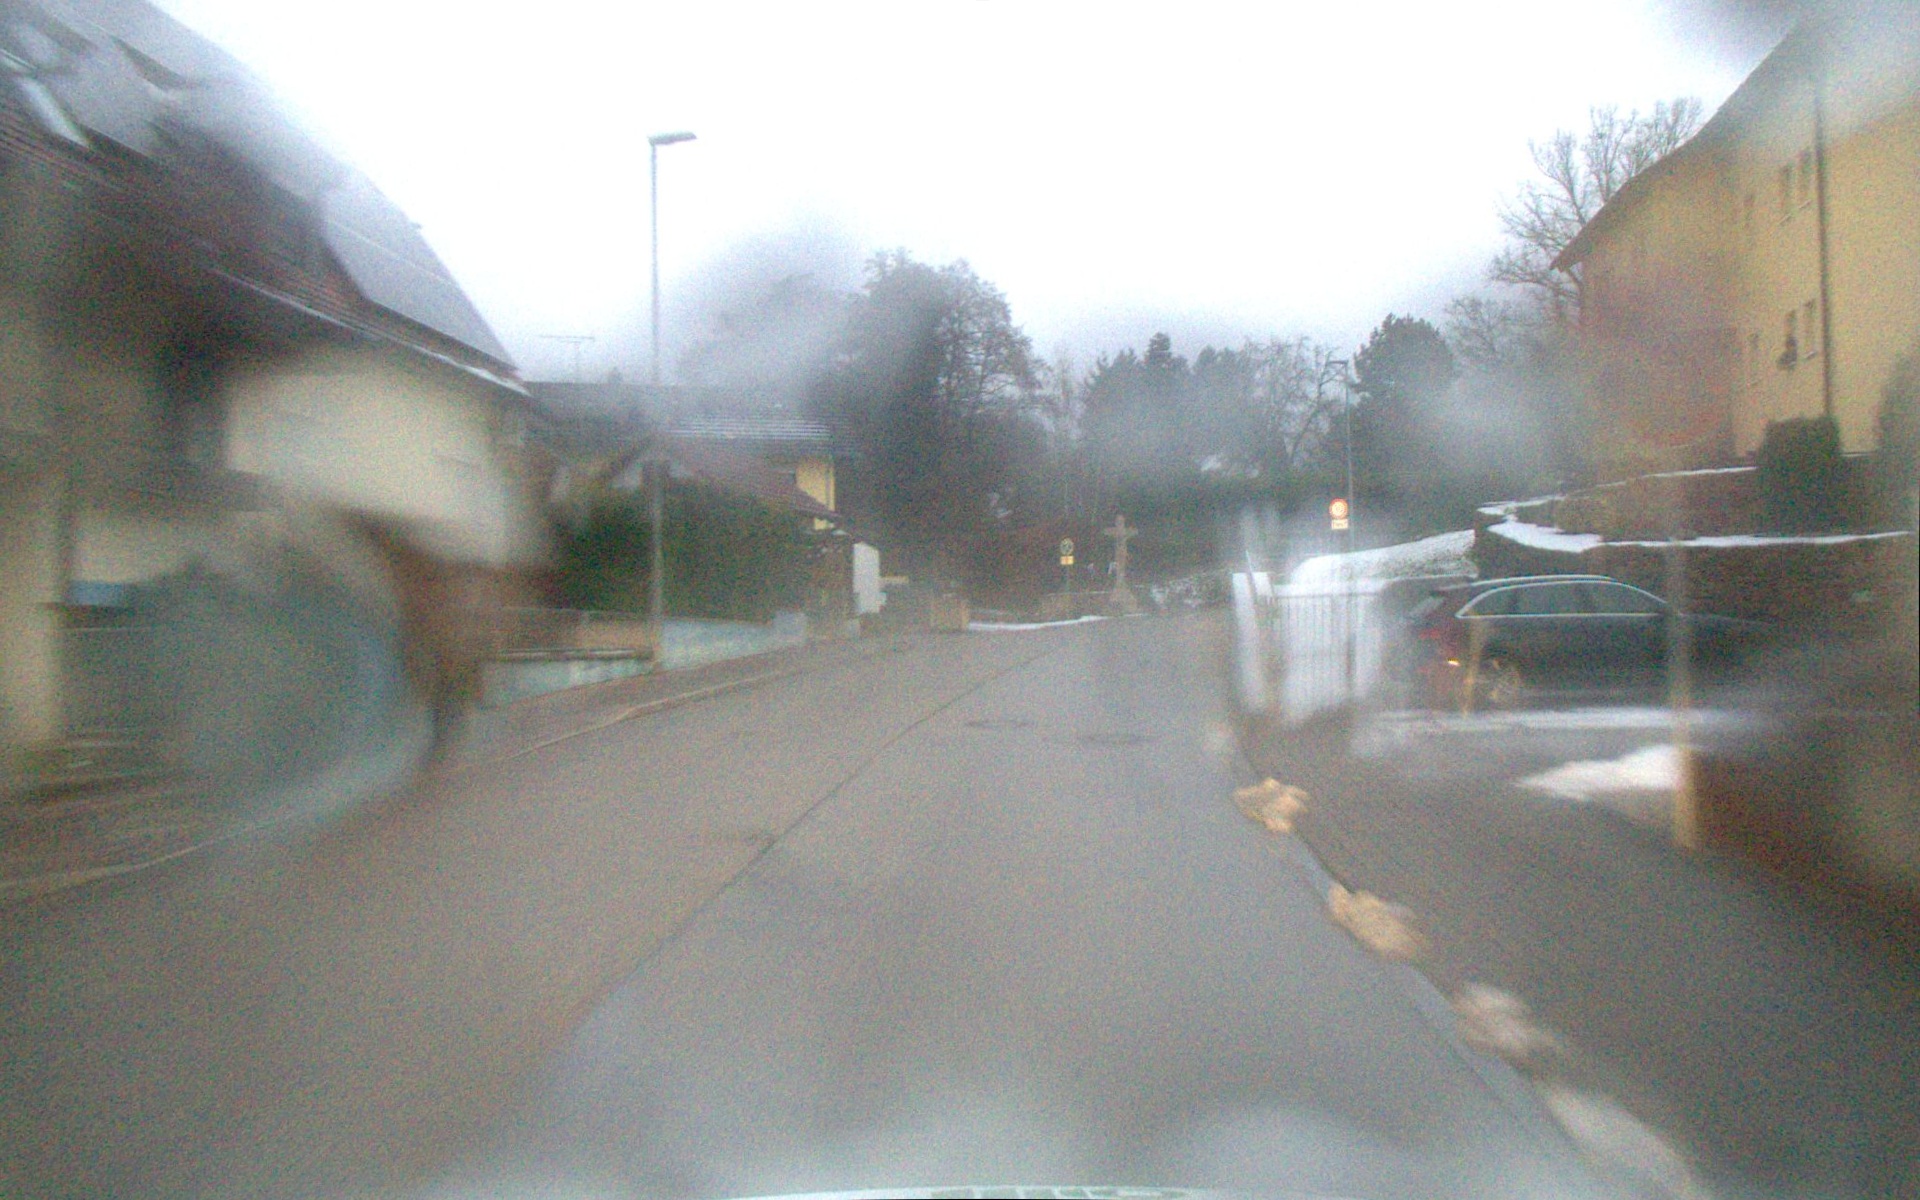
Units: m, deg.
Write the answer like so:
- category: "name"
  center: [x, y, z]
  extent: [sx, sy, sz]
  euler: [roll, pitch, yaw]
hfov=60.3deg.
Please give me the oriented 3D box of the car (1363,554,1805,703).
- category: "car"
  center: [7.149, 0.306, 19.343]
  extent: [4.410, 1.469, 2.001]
  euler: [-2, 1, 4]
